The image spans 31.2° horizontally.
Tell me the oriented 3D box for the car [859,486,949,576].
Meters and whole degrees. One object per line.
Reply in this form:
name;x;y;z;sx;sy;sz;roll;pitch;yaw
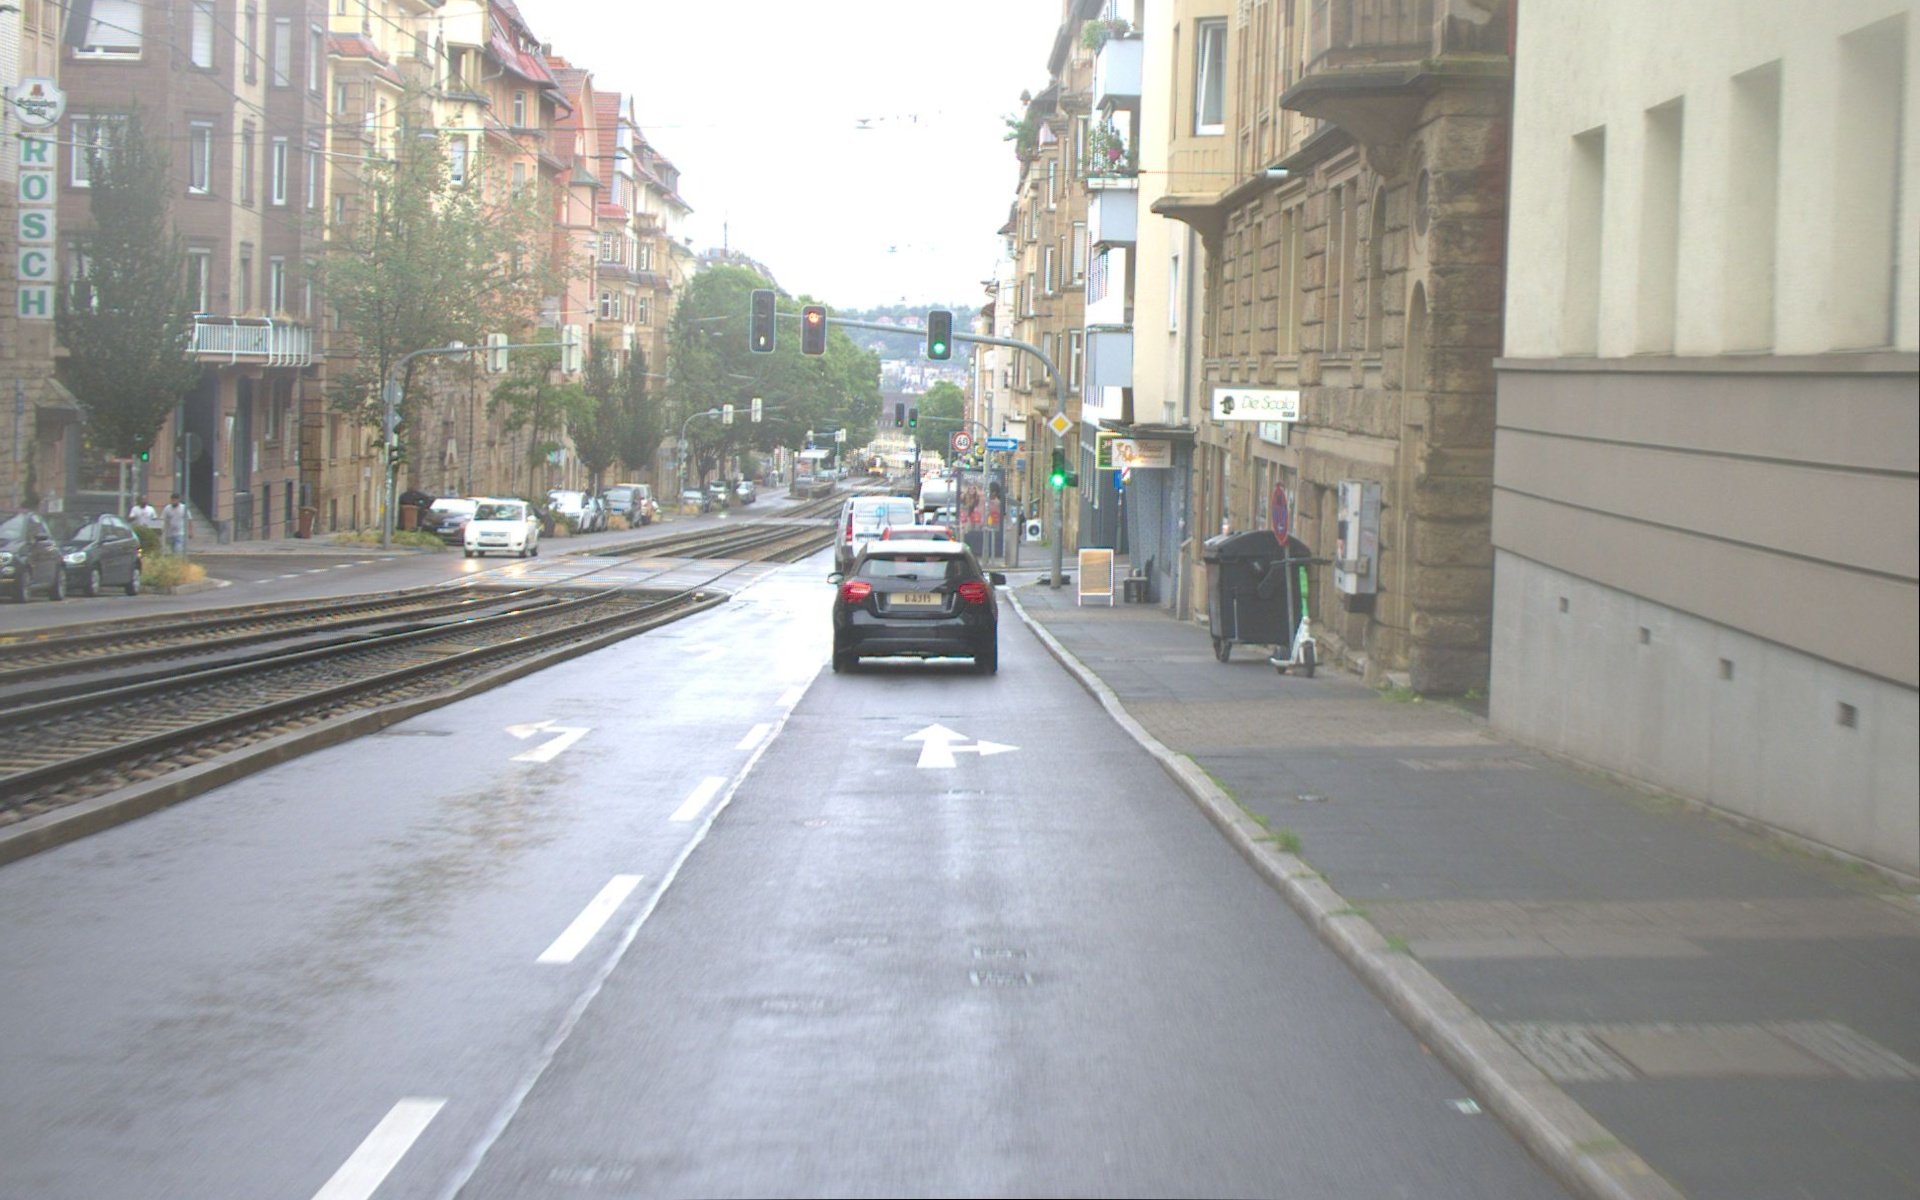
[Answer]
car;-0.997;-1.288;63.116;1.536;1.505;4.001;2;2;0

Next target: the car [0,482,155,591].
car;-15.496;-1.127;59.911;1.886;1.722;3.740;4;2;1

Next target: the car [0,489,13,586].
car;-15.224;-0.901;49.937;1.801;1.450;4.431;1;1;-1

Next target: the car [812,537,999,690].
car;-0.615;0.106;37.985;1.946;1.559;3.643;1;1;-1

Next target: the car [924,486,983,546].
car;-0.220;-2.666;108.487;1.768;1.801;4.483;2;2;0

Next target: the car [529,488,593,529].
car;-15.715;-3.628;135.609;1.785;1.584;4.351;0;2;3

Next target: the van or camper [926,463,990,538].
van or camper;-0.062;-3.377;117.095;2.064;2.460;6.119;1;2;0

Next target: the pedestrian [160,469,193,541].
pedestrian;-17.238;-2.081;75.624;0.517;1.565;0.643;1;1;5

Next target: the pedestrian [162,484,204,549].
pedestrian;-17.085;-1.843;75.593;0.754;1.417;0.645;1;1;1

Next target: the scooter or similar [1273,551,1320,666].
scooter or similar;3.286;0.078;33.580;0.209;1.108;0.892;-1;0;-10

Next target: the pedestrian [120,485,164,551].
pedestrian;-17.937;-1.806;75.401;0.754;1.417;0.645;2;1;1

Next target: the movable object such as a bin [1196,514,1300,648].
movable object such as a bin;3.188;-0.224;38.170;1.009;1.446;1.393;-1;1;0

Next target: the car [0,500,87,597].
car;-15.358;-0.853;55.205;1.807;1.493;3.526;1;2;-1

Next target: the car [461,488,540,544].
car;-12.447;-2.282;93.288;1.627;1.477;3.581;1;1;0

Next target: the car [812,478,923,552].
car;-2.262;-2.068;83.019;1.921;1.649;4.002;2;1;-12

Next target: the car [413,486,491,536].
car;-15.582;-2.729;105.644;1.765;1.481;4.000;1;1;0
